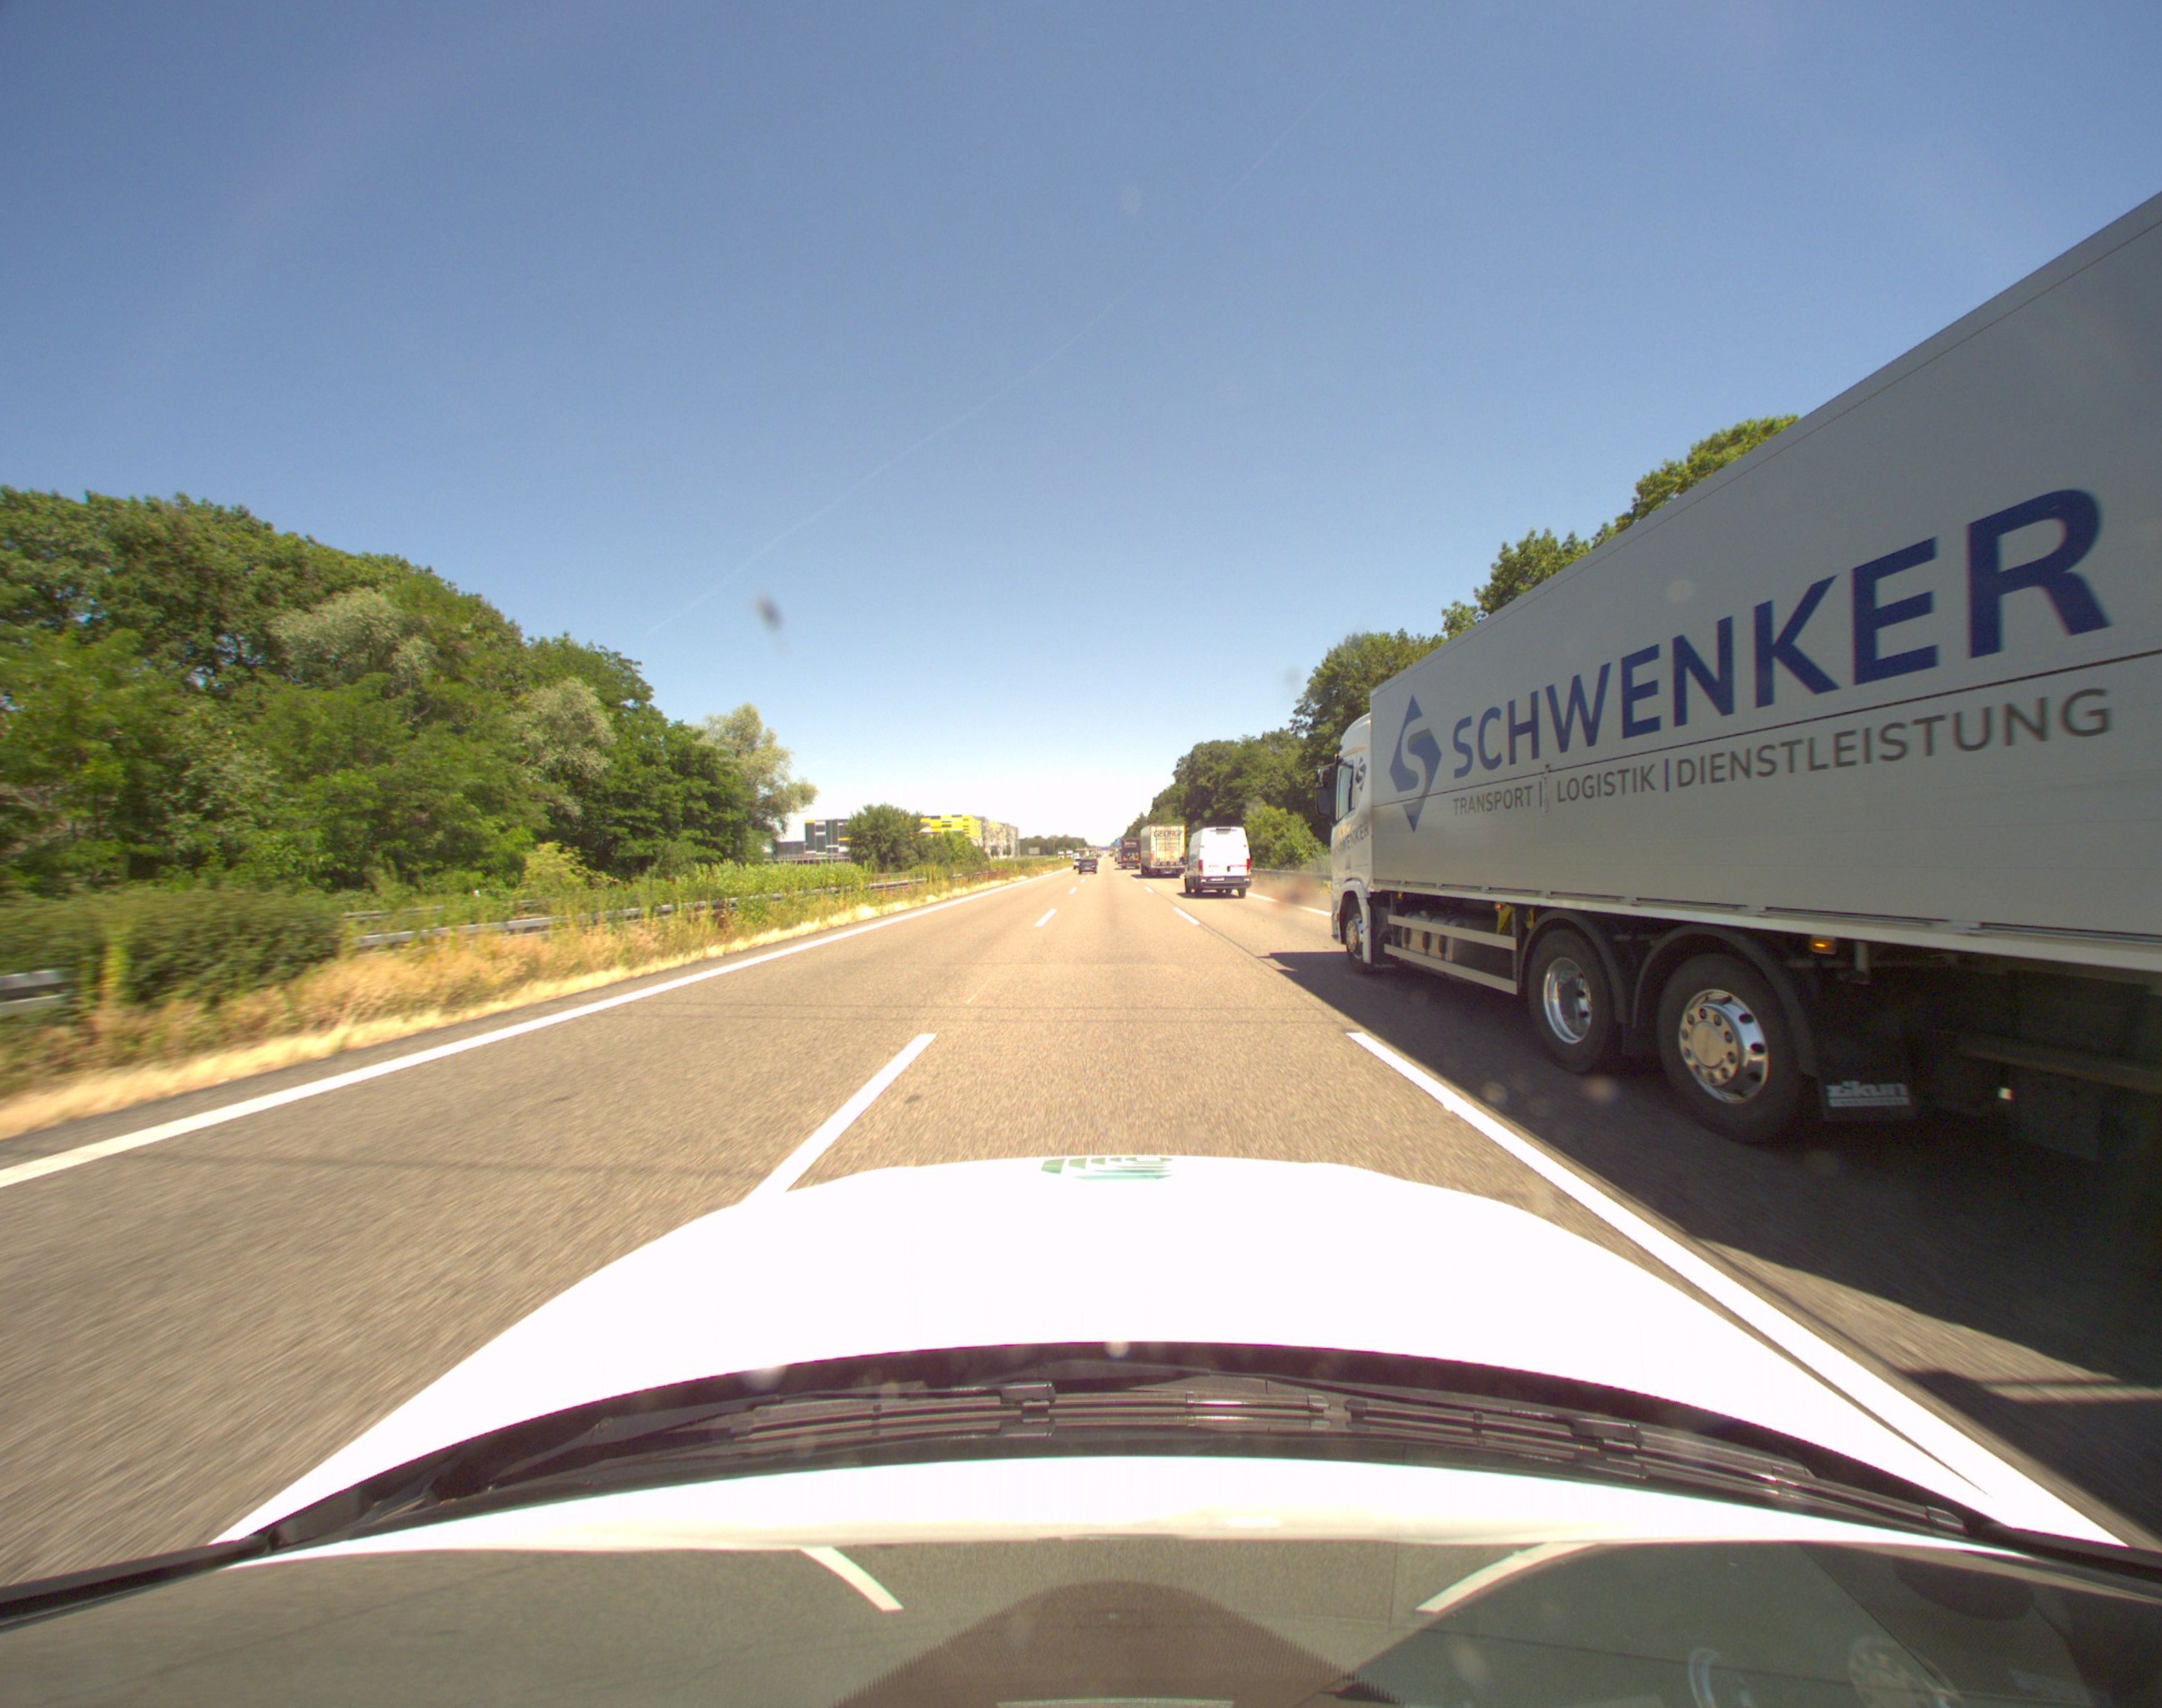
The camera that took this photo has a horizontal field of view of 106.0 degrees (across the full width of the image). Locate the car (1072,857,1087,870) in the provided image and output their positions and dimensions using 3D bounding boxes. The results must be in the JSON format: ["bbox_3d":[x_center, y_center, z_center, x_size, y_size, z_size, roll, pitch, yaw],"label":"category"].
[{"bbox_3d":[-0.150,1.353,113.515,1.987,1.728,4.131,-1,0,1],"label":"car"}]

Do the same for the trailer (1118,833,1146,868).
[{"bbox_3d":[6.890,-0.396,112.237,3.095,4.507,14.898,-1,0,1],"label":"trailer"}]

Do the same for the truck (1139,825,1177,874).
[{"bbox_3d":[6.813,-0.365,73.119,2.991,4.125,5.254,-1,-1,1],"label":"truck"}]

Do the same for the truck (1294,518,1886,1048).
[{"bbox_3d":[4.775,-0.520,9.665,2.878,4.030,6.872,-1,-1,2],"label":"truck"}]

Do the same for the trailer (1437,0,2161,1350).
[{"bbox_3d":[4.648,-0.568,3.791,2.909,4.041,7.319,-1,-1,1],"label":"trailer"}]

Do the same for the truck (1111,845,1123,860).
[{"bbox_3d":[10.700,-0.345,241.242,3.409,4.126,9.570,-2,0,2],"label":"truck"}]

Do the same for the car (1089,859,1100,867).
[{"bbox_3d":[2.689,1.781,162.170,1.934,1.706,4.001,-2,0,1],"label":"car"}]

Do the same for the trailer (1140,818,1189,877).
[{"bbox_3d":[6.597,-0.445,66.189,2.982,4.289,13.422,-1,0,2],"label":"trailer"}]

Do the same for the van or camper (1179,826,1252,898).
[{"bbox_3d":[5.359,0.309,33.286,2.015,2.637,6.488,-1,0,1],"label":"van or camper"}]

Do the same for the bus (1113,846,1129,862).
[{"bbox_3d":[8.877,-0.075,179.487,3.052,3.326,8.273,-2,0,0],"label":"bus"}]

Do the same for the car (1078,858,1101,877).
[{"bbox_3d":[0.887,1.342,82.553,2.208,1.790,5.395,-2,0,1],"label":"car"}]
